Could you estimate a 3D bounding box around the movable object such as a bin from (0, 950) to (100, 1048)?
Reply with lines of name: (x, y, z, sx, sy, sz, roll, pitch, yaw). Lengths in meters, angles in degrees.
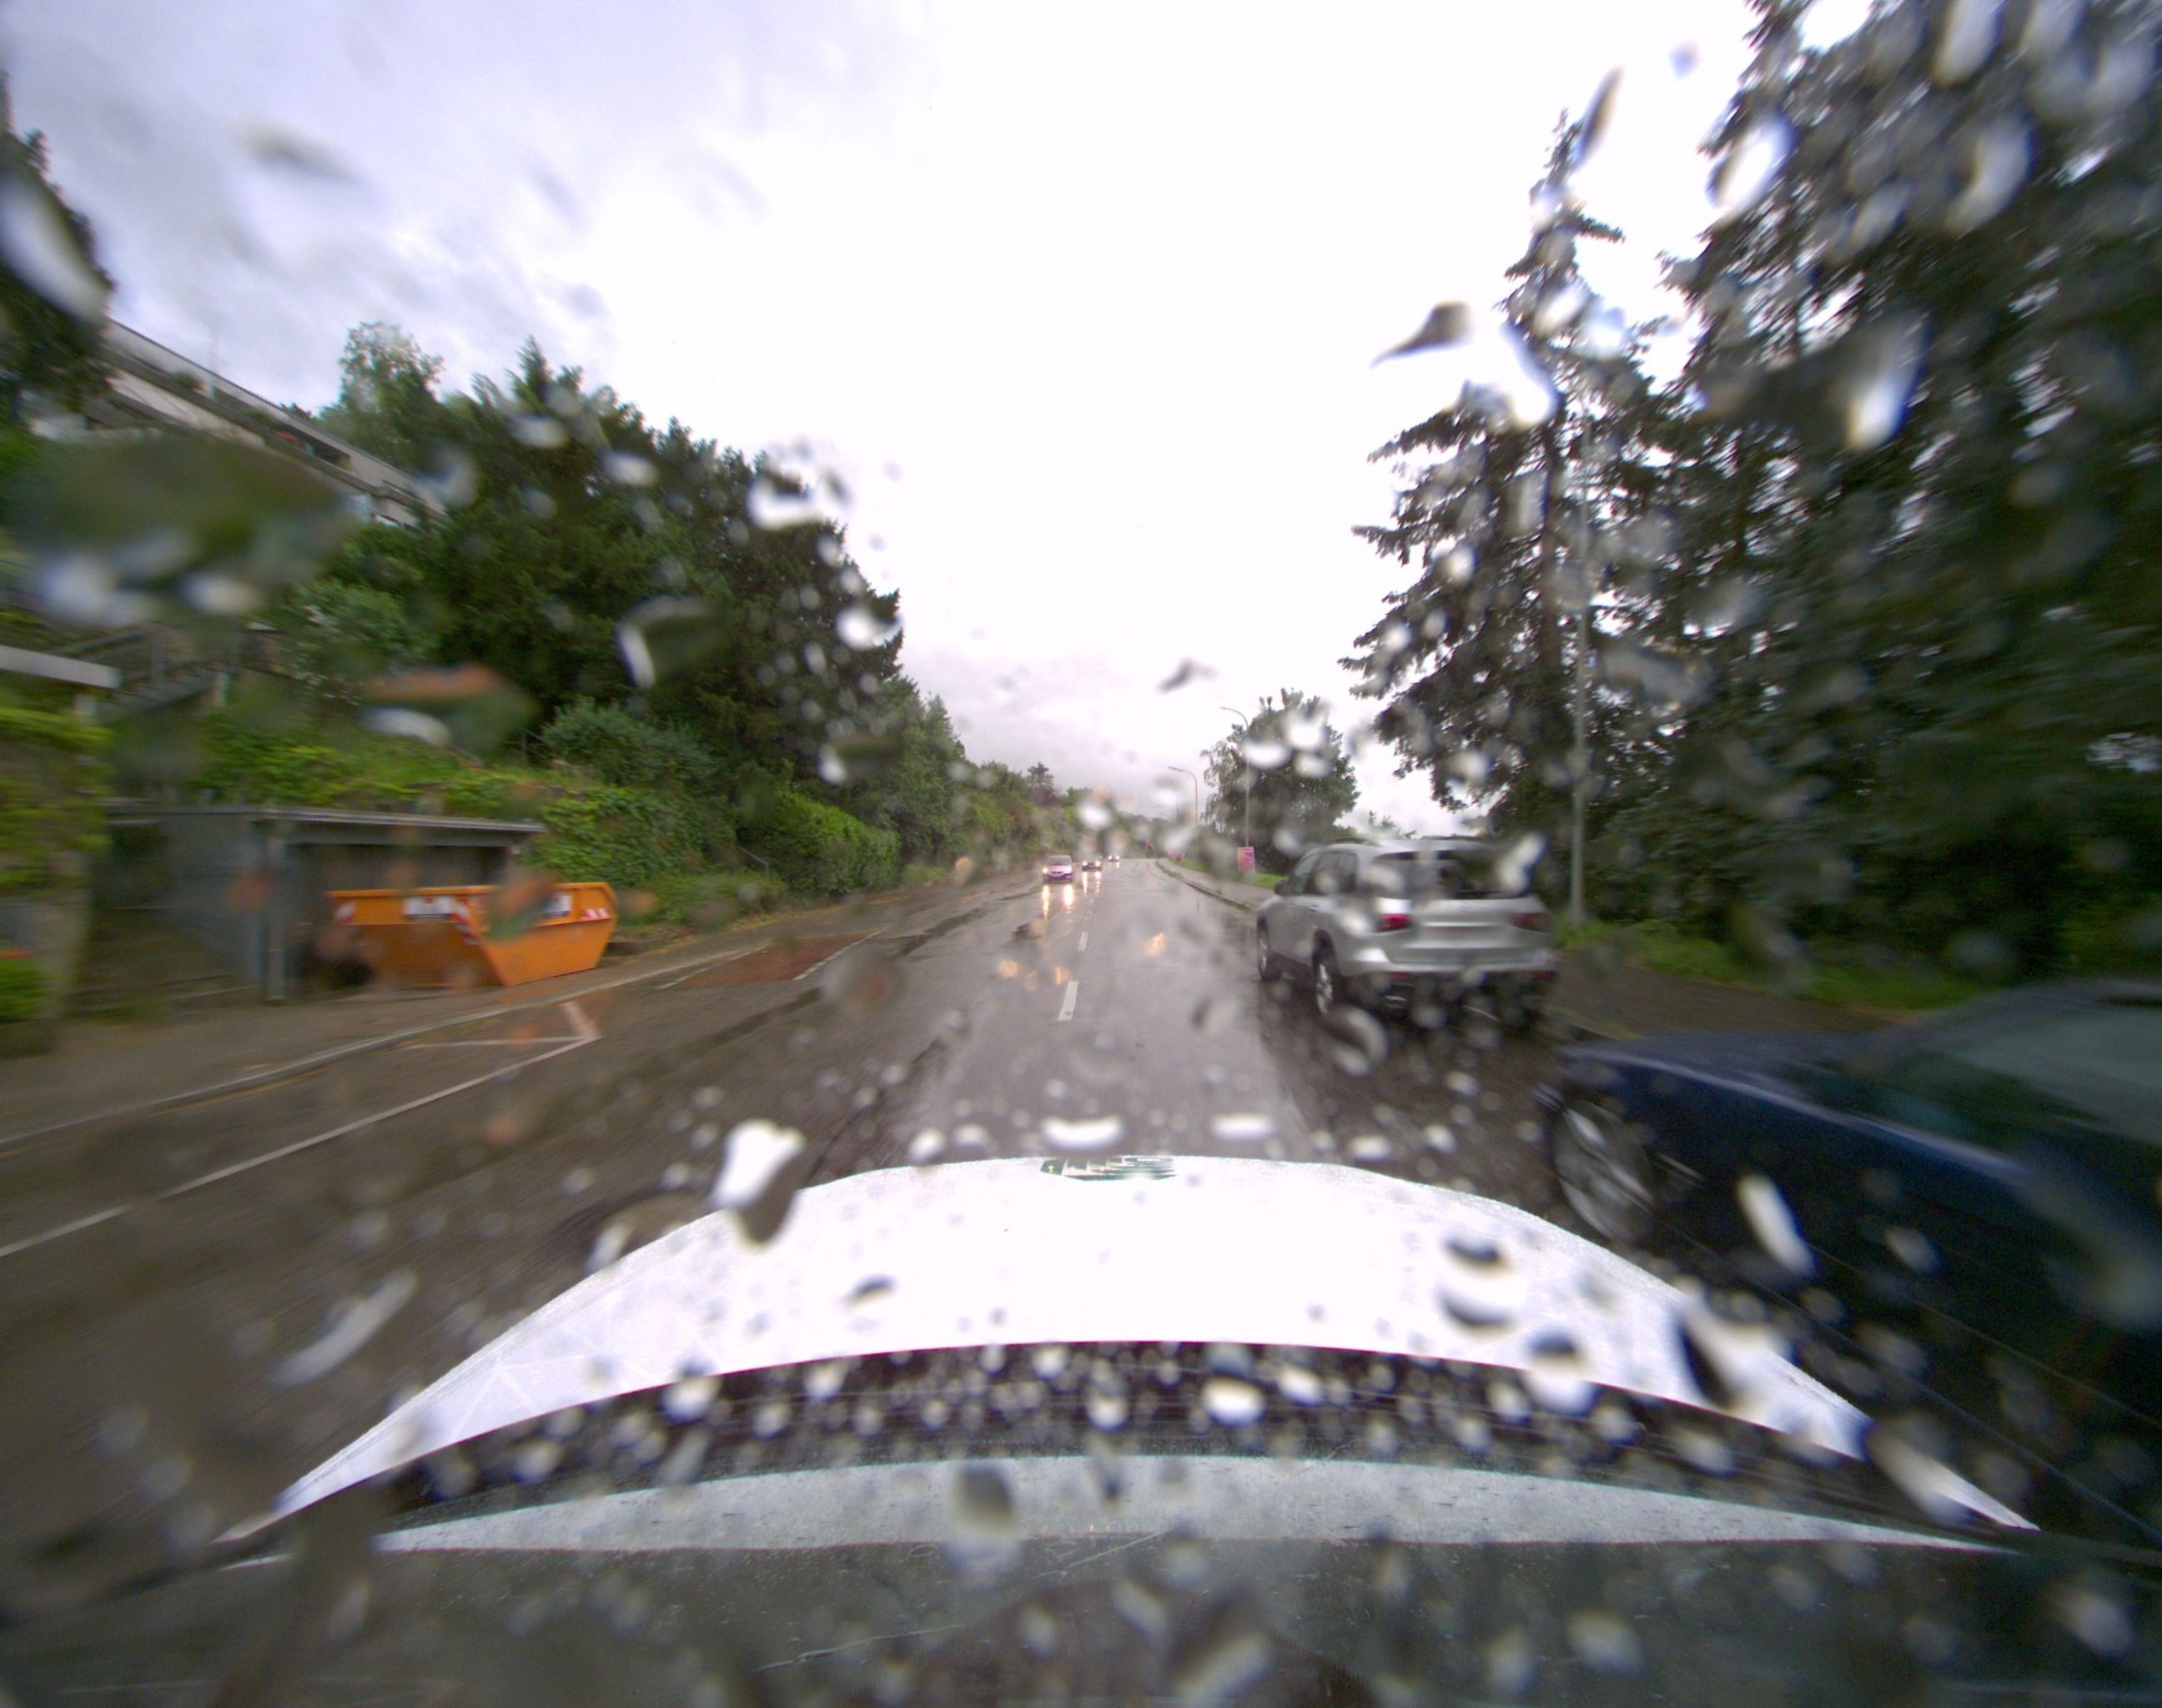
movable object such as a bin: (-9.489, 1.307, 7.418, 0.396, 0.820, 0.549, -1, -3, 0)

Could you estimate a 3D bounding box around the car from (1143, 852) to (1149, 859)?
car: (19.587, 0.380, 245.729, 1.985, 2.014, 4.004, 0, -1, 4)

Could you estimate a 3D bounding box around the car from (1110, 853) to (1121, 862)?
car: (5.792, 0.574, 137.572, 1.753, 1.496, 4.129, -1, 0, 2)

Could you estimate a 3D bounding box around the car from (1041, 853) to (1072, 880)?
car: (-1.344, 0.679, 46.002, 1.657, 1.461, 3.660, -1, 0, -1)

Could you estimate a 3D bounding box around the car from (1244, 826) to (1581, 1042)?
car: (3.014, 0.633, 8.523, 1.809, 1.645, 4.396, -1, 0, 1)

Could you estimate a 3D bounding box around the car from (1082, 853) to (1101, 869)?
car: (1.004, 0.638, 73.933, 1.648, 1.352, 3.988, -1, 0, 1)

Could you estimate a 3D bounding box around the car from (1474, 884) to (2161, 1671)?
car: (2.727, 0.794, 1.827, 1.625, 1.282, 4.449, -1, 0, 1)
